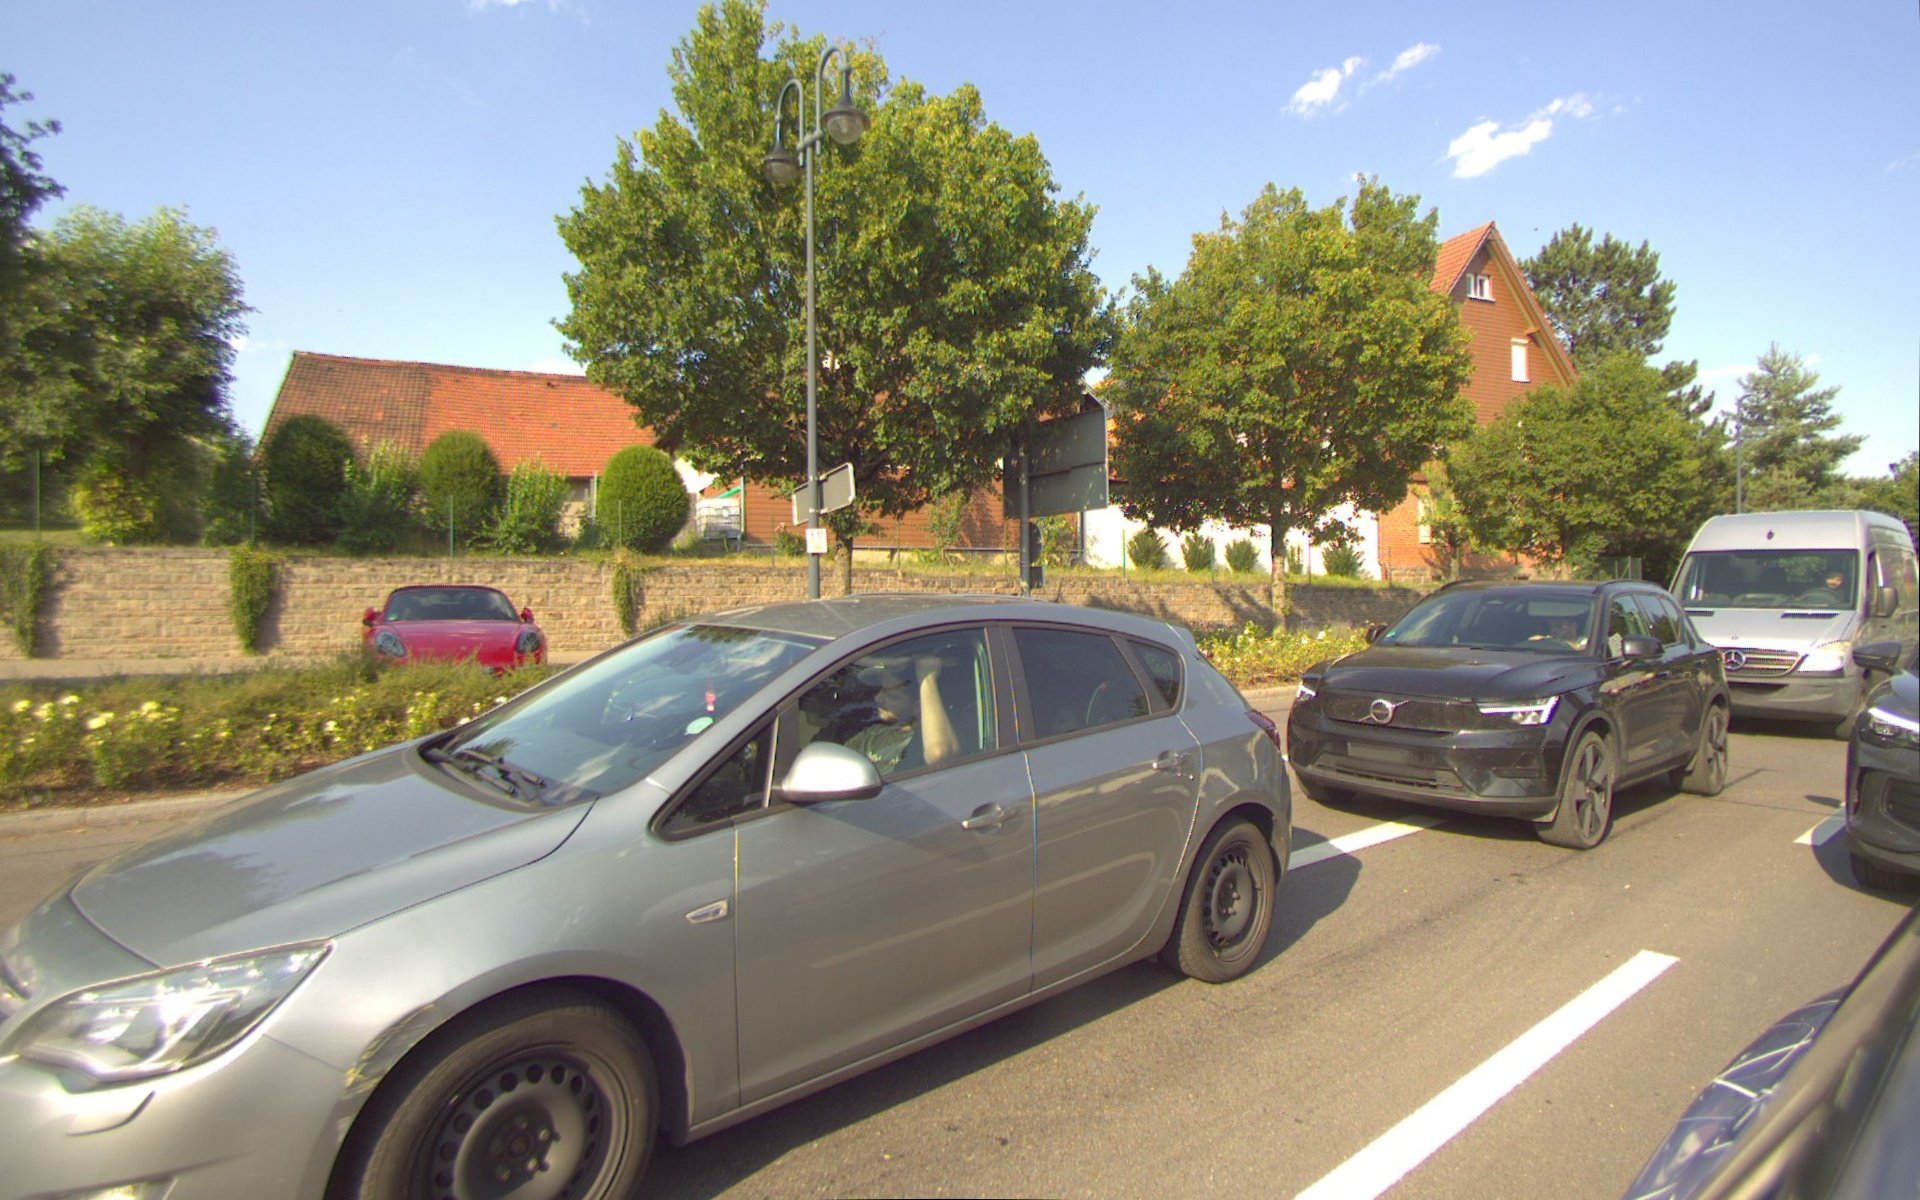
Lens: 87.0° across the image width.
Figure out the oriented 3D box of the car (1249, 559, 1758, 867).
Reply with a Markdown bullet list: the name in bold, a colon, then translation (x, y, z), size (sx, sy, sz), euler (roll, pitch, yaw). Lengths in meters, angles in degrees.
- **car**: translation (4.155, 0.566, 7.438), size (4.242, 1.629, 1.844), euler (0, 2, -40)

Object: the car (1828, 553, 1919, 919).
- **car**: translation (6.284, 0.617, 5.388), size (4.242, 1.629, 1.844), euler (0, 2, -40)

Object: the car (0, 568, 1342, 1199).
- **car**: translation (-0.564, 0.665, 3.508), size (4.244, 1.471, 1.765), euler (0, 2, -42)

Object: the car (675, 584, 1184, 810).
- **car**: translation (-0.071, 0.613, 8.668), size (4.244, 1.471, 1.764), euler (0, 1, -42)

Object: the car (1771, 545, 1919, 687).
- **car**: translation (15.055, 0.206, 16.658), size (4.242, 2.055, 1.844), euler (0, 1, -40)

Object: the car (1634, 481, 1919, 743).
- **car**: translation (10.654, 0.082, 12.745), size (5.938, 2.601, 1.992), euler (0, 1, -40)

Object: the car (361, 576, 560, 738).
- **car**: translation (-5.902, 0.525, 11.700), size (1.743, 1.510, 4.156), euler (0, 0, -31)
